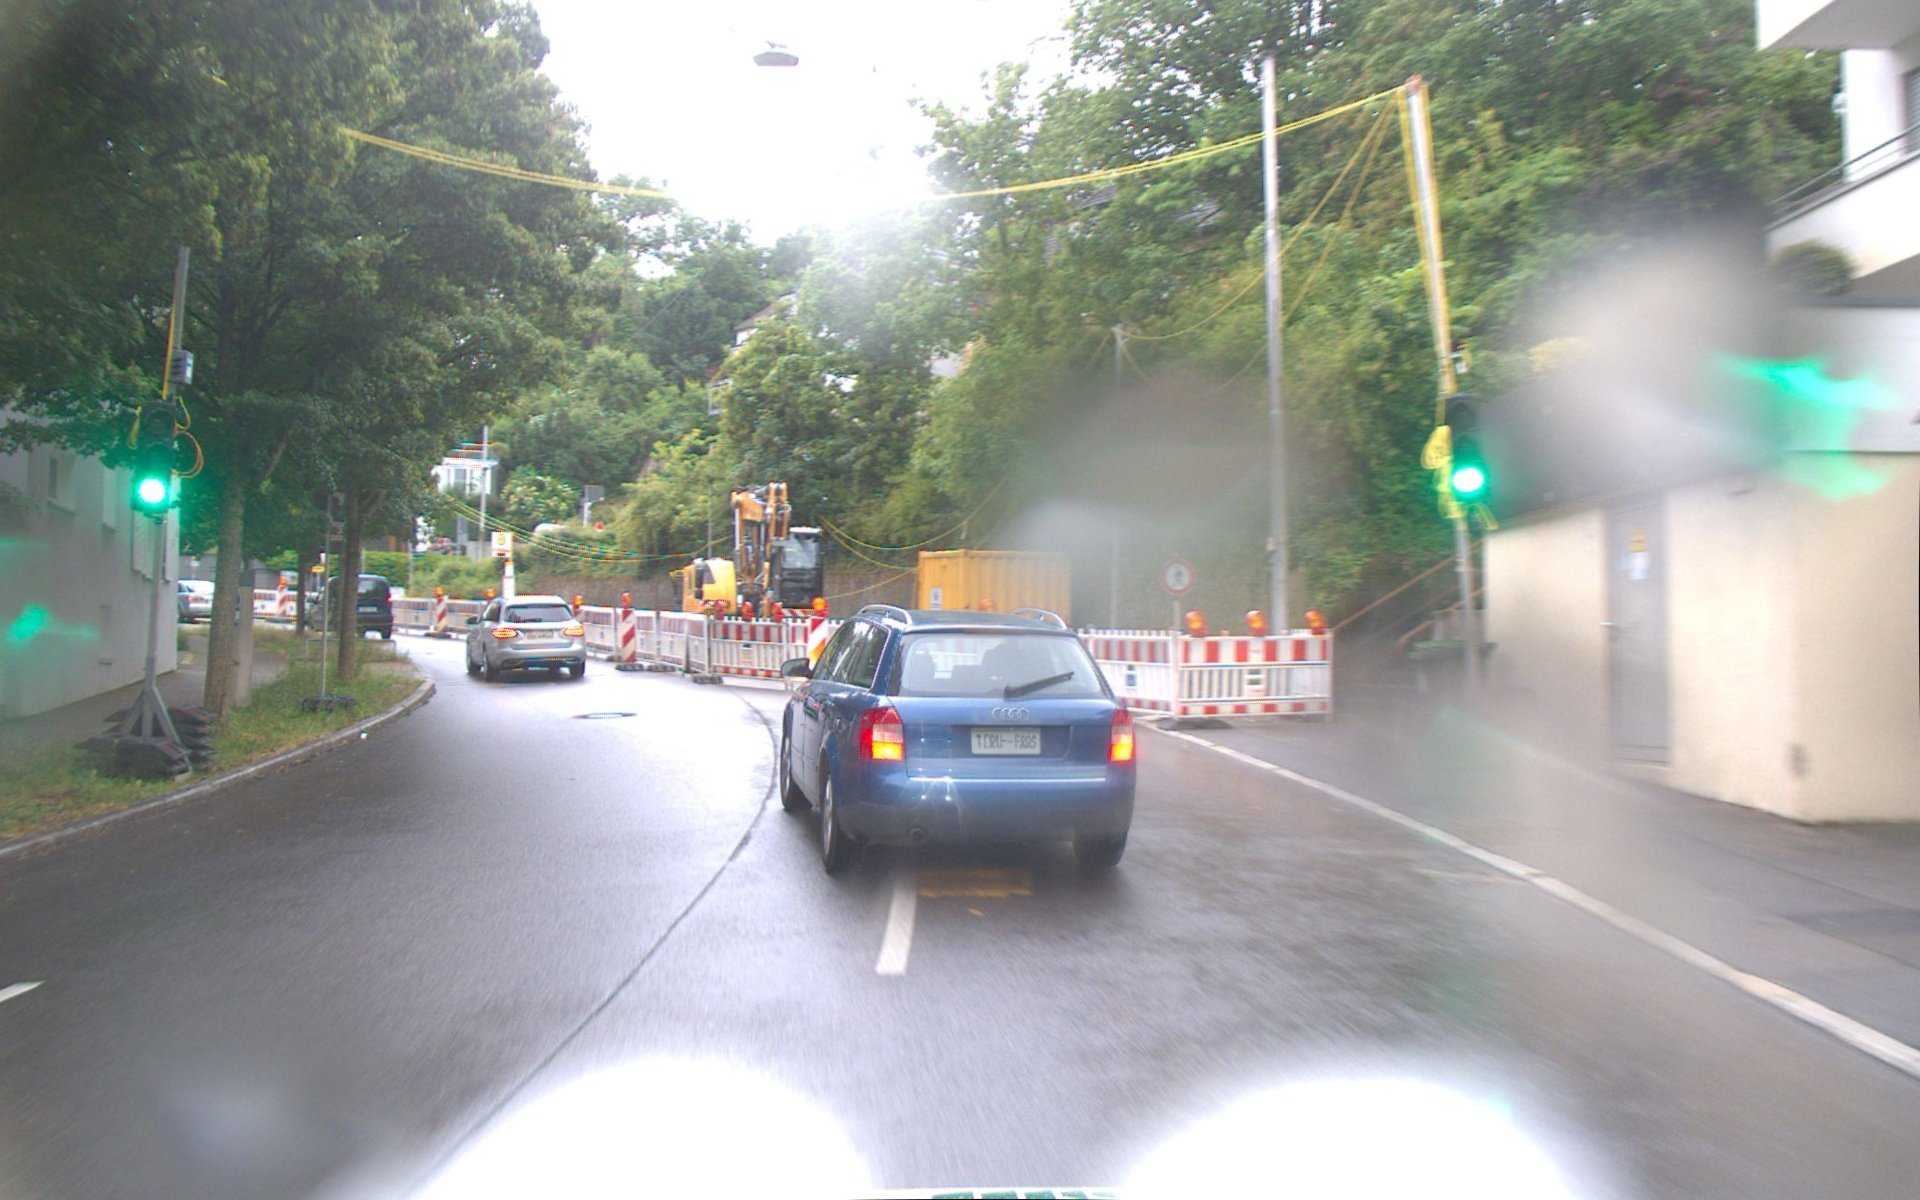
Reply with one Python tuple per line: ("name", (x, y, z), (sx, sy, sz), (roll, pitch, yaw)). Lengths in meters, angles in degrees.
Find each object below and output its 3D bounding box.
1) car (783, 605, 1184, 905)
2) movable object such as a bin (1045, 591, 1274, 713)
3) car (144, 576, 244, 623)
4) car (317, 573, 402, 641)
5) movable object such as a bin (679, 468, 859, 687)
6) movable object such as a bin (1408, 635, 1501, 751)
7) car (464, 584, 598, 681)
("car", (-0.070, 0.772, 10.290), (1.754, 1.467, 3.953), (0, 0, -11))
("movable object such as a bin", (2.737, 0.665, 23.629), (1.960, 1.546, 3.985), (0, 1, -14))
("car", (-27.046, 0.000, 58.356), (4.003, 1.512, 1.716), (-2, 0, 42))
("car", (-17.431, 0.222, 47.922), (1.968, 1.825, 3.969), (-2, 0, -25))
("movable object such as a bin", (-4.173, -0.472, 34.677), (2.772, 4.084, 7.299), (-1, 1, -14))
("movable object such as a bin", (4.675, 0.870, 15.669), (0.704, 1.050, 0.592), (-1, 0, 3))
("car", (-8.038, 0.535, 30.763), (1.899, 1.646, 4.292), (-1, 1, -22))
